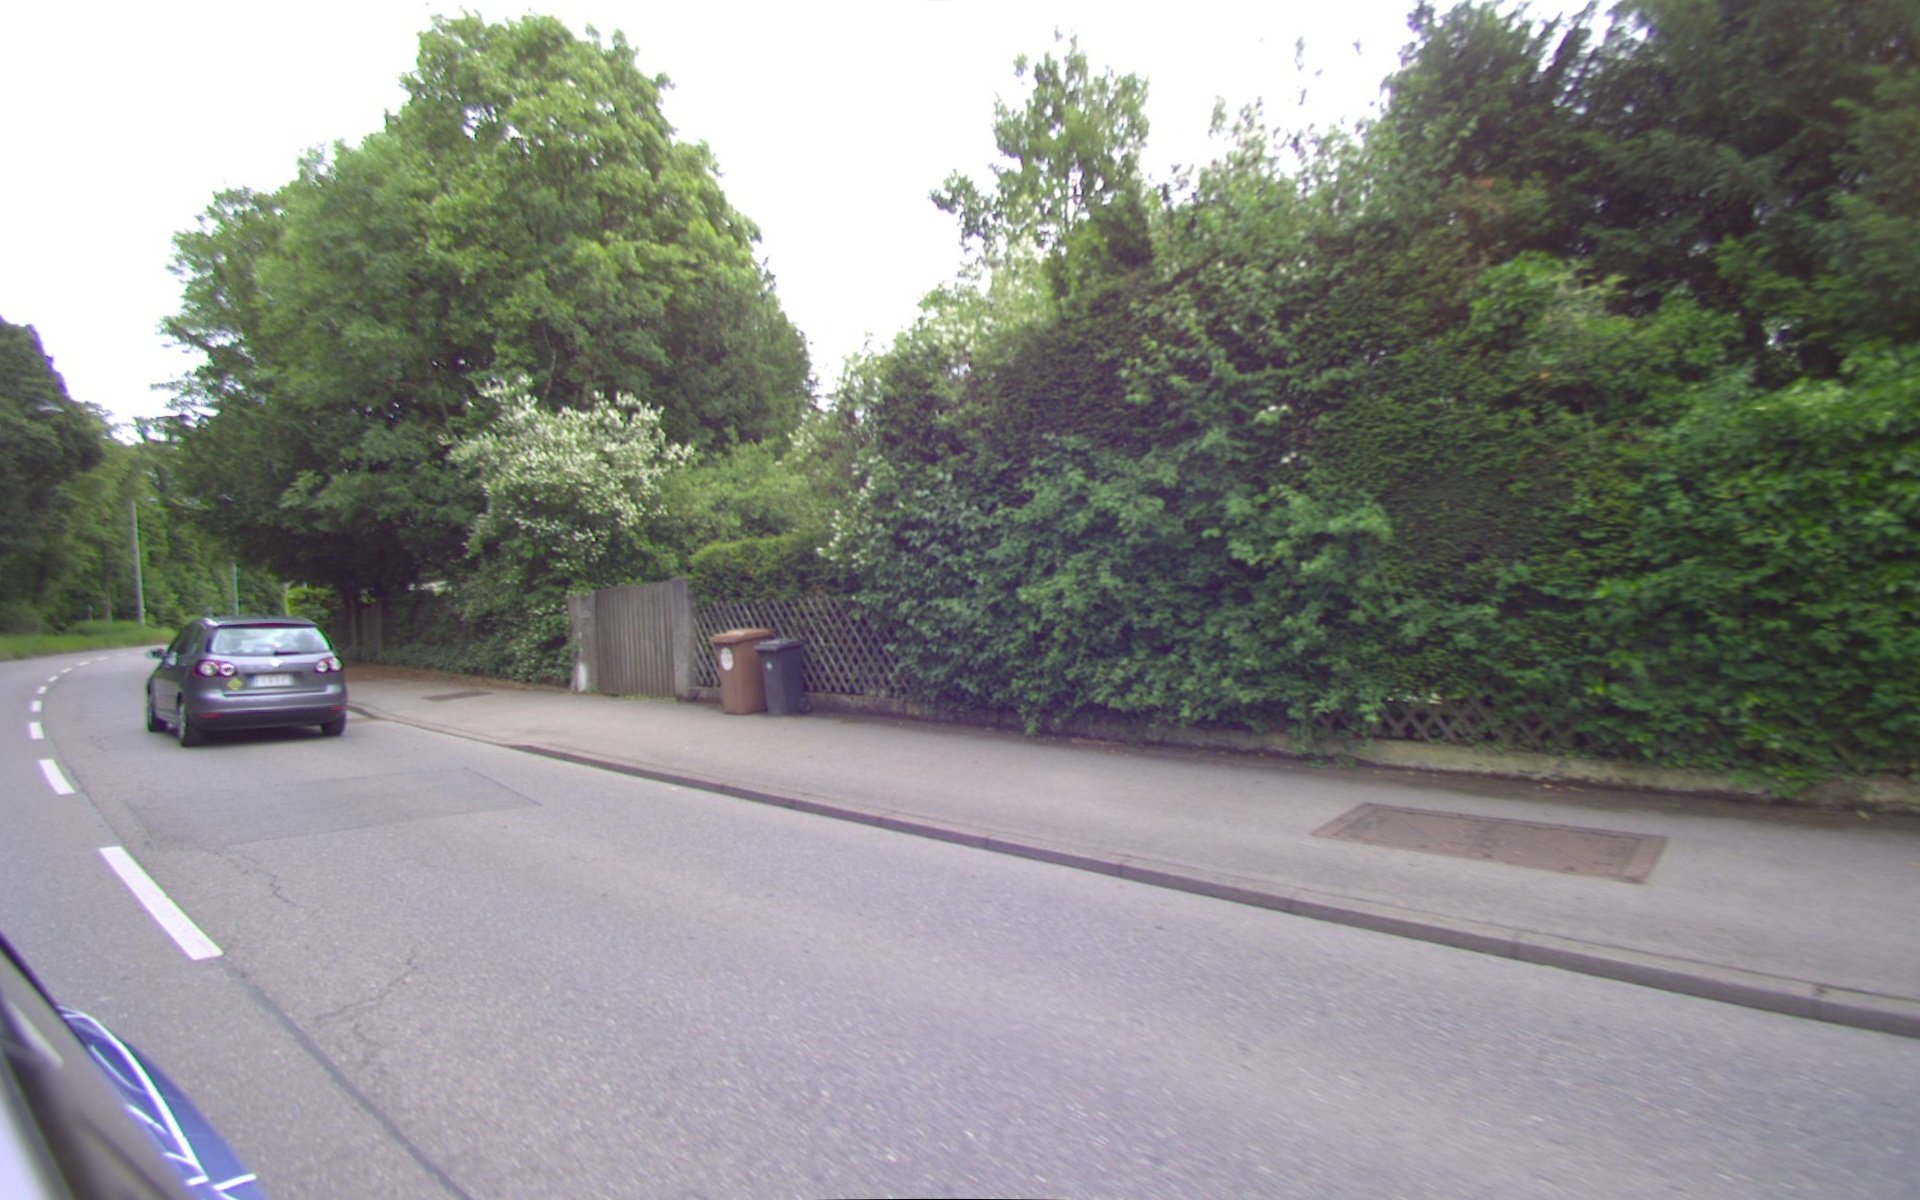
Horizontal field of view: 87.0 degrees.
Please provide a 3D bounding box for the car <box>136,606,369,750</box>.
[{"bbox_3d":[-9.607,0.957,13.621,1.970,1.630,4.003,1,-2,-44],"label":"car"}]

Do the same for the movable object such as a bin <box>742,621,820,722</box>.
[{"bbox_3d":[-2.195,0.853,12.410,0.646,1.153,0.622,-2,2,43],"label":"movable object such as a bin"}]

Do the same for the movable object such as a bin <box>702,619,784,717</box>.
[{"bbox_3d":[-2.767,0.848,12.932,0.646,1.150,0.733,-2,2,43],"label":"movable object such as a bin"}]
